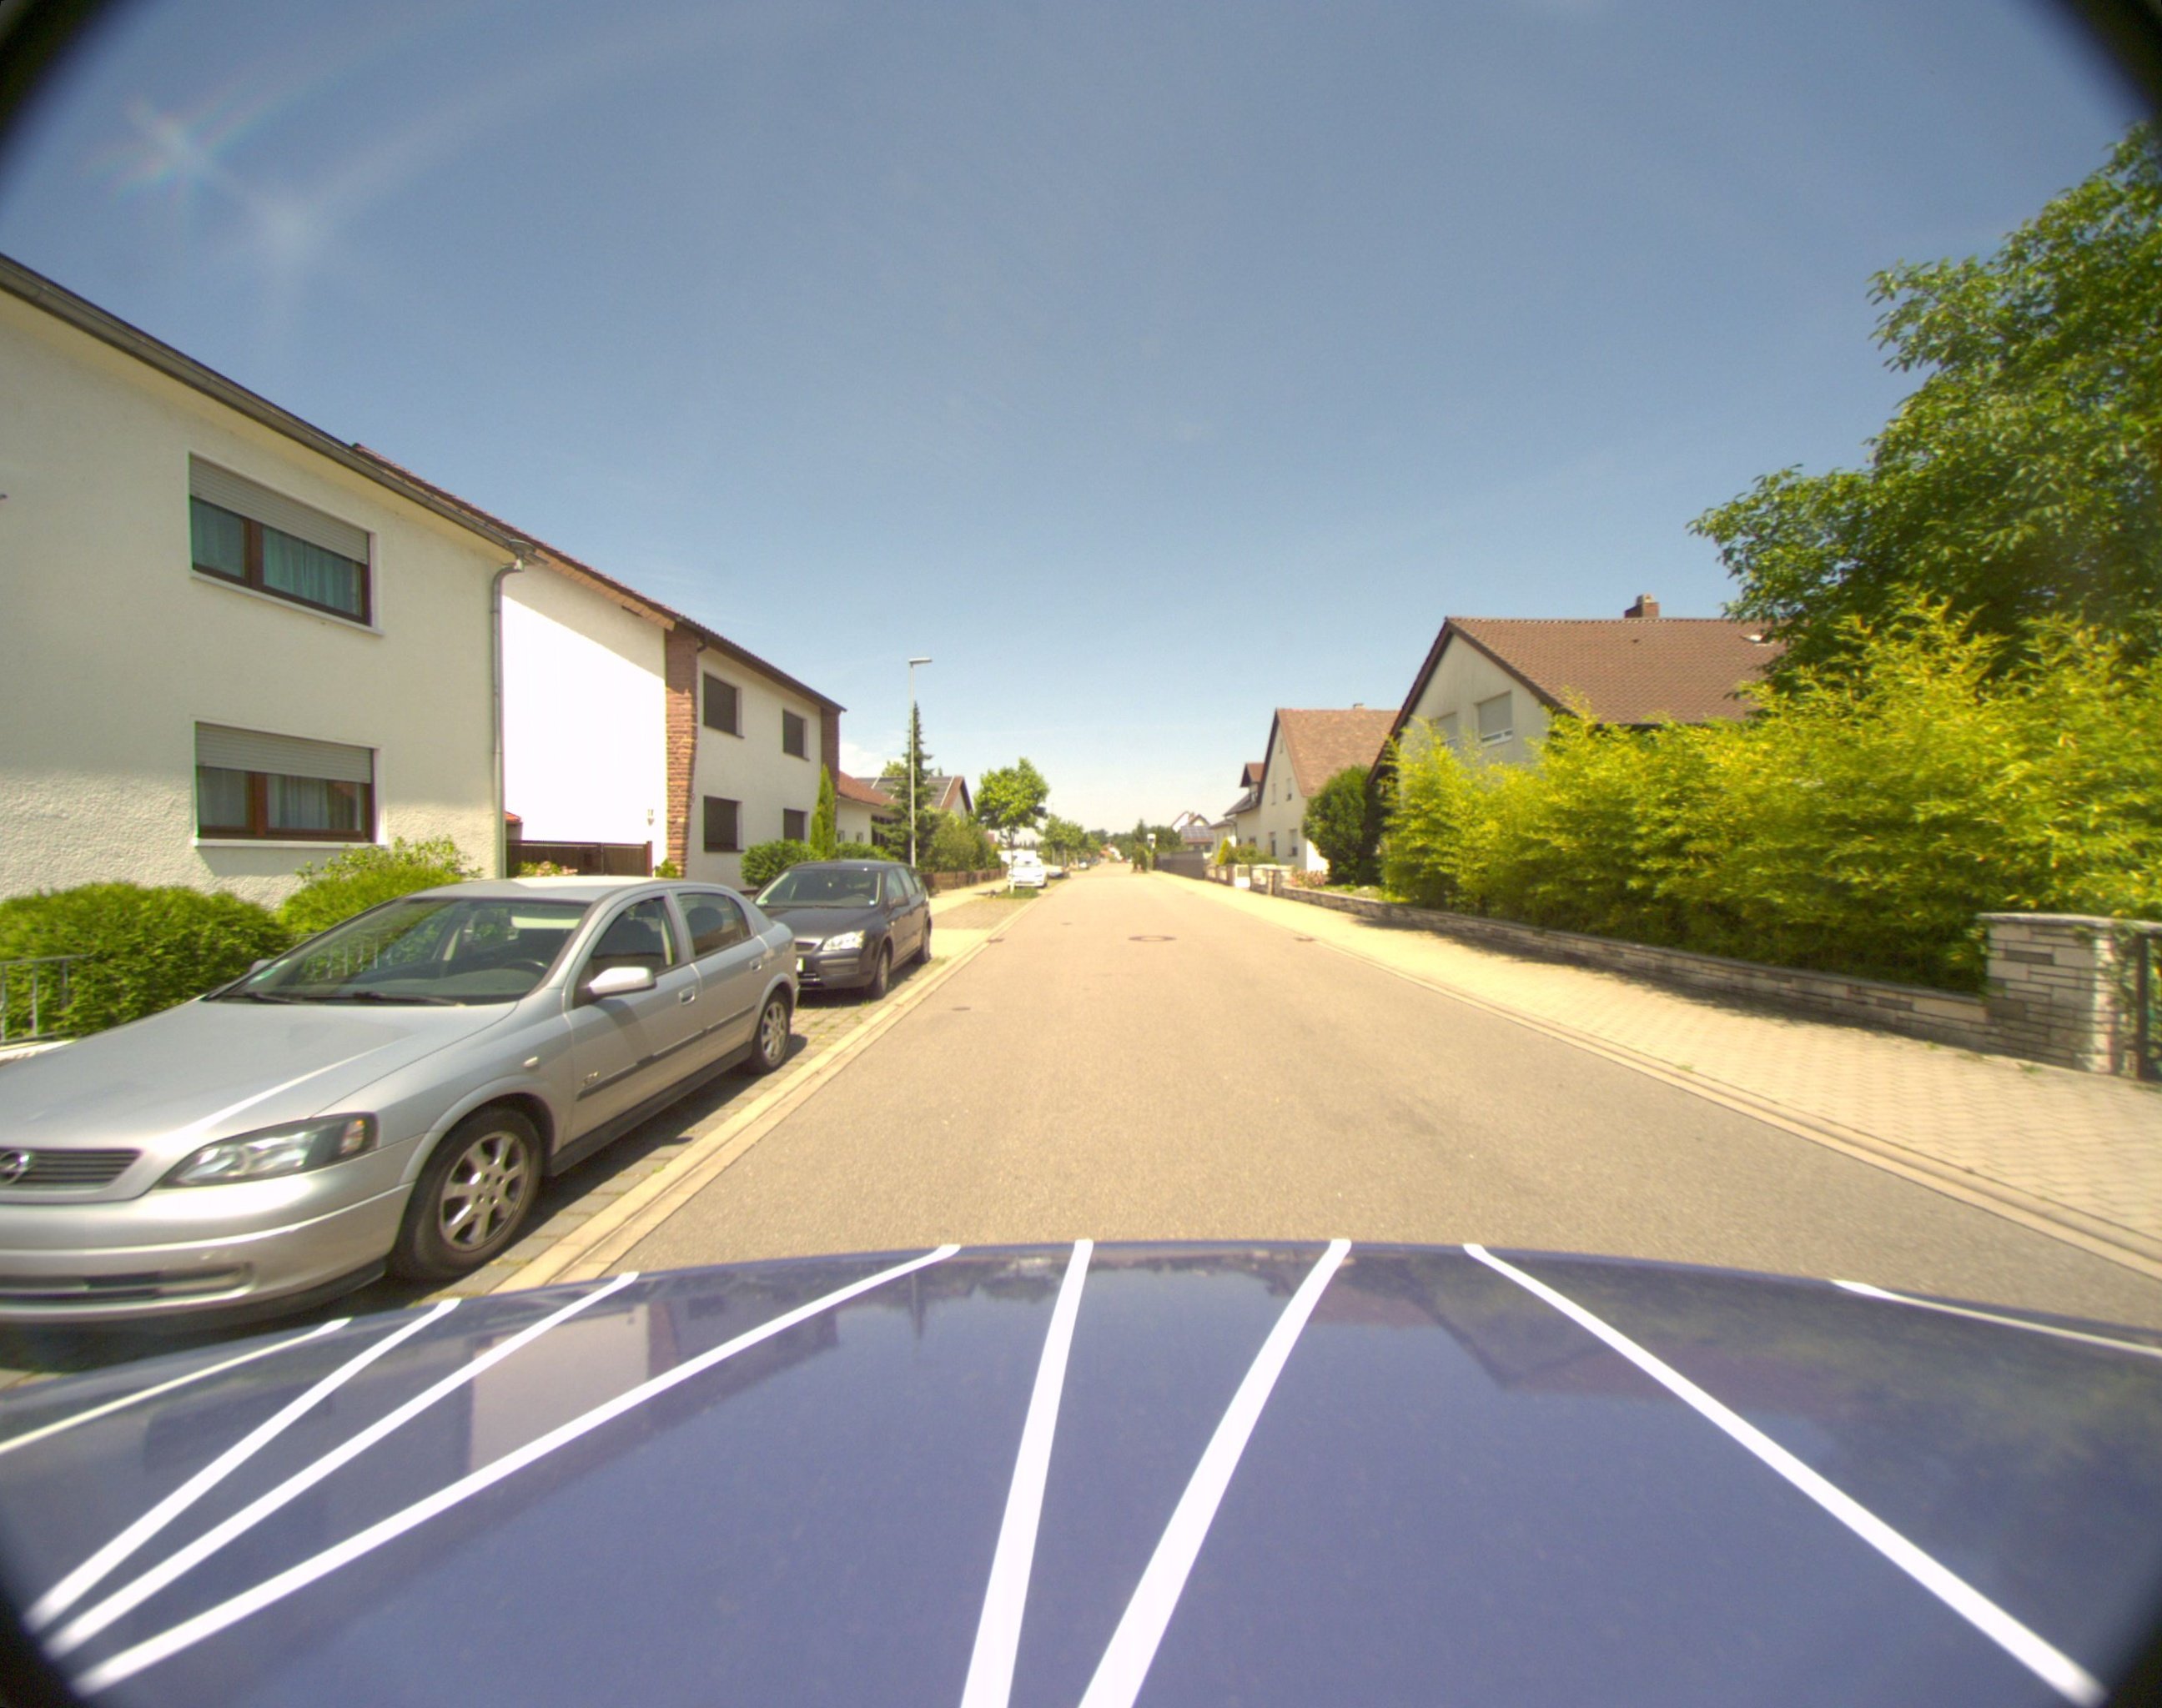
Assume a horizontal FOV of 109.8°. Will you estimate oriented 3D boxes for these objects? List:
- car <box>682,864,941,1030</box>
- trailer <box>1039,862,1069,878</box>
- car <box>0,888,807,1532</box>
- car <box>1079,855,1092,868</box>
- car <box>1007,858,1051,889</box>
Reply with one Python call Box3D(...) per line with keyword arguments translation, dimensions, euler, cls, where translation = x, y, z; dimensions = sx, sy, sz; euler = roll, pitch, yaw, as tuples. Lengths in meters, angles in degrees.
Box3D(translation=(-3.007, 0.924, 9.563), dimensions=(1.746, 1.524, 4.448), euler=(-1, 0, -1), cls="car")
Box3D(translation=(-1.799, 1.087, 51.750), dimensions=(1.792, 1.052, 2.899), euler=(0, 0, 2), cls="trailer")
Box3D(translation=(-3.118, 0.974, 3.925), dimensions=(1.819, 1.412, 4.093), euler=(0, 0, 1), cls="car")
Box3D(translation=(0.631, 1.009, 104.966), dimensions=(1.597, 1.630, 3.804), euler=(-1, 0, 5), cls="car")
Box3D(translation=(-2.460, 0.887, 36.959), dimensions=(1.819, 1.412, 3.868), euler=(0, 0, 0), cls="car")
